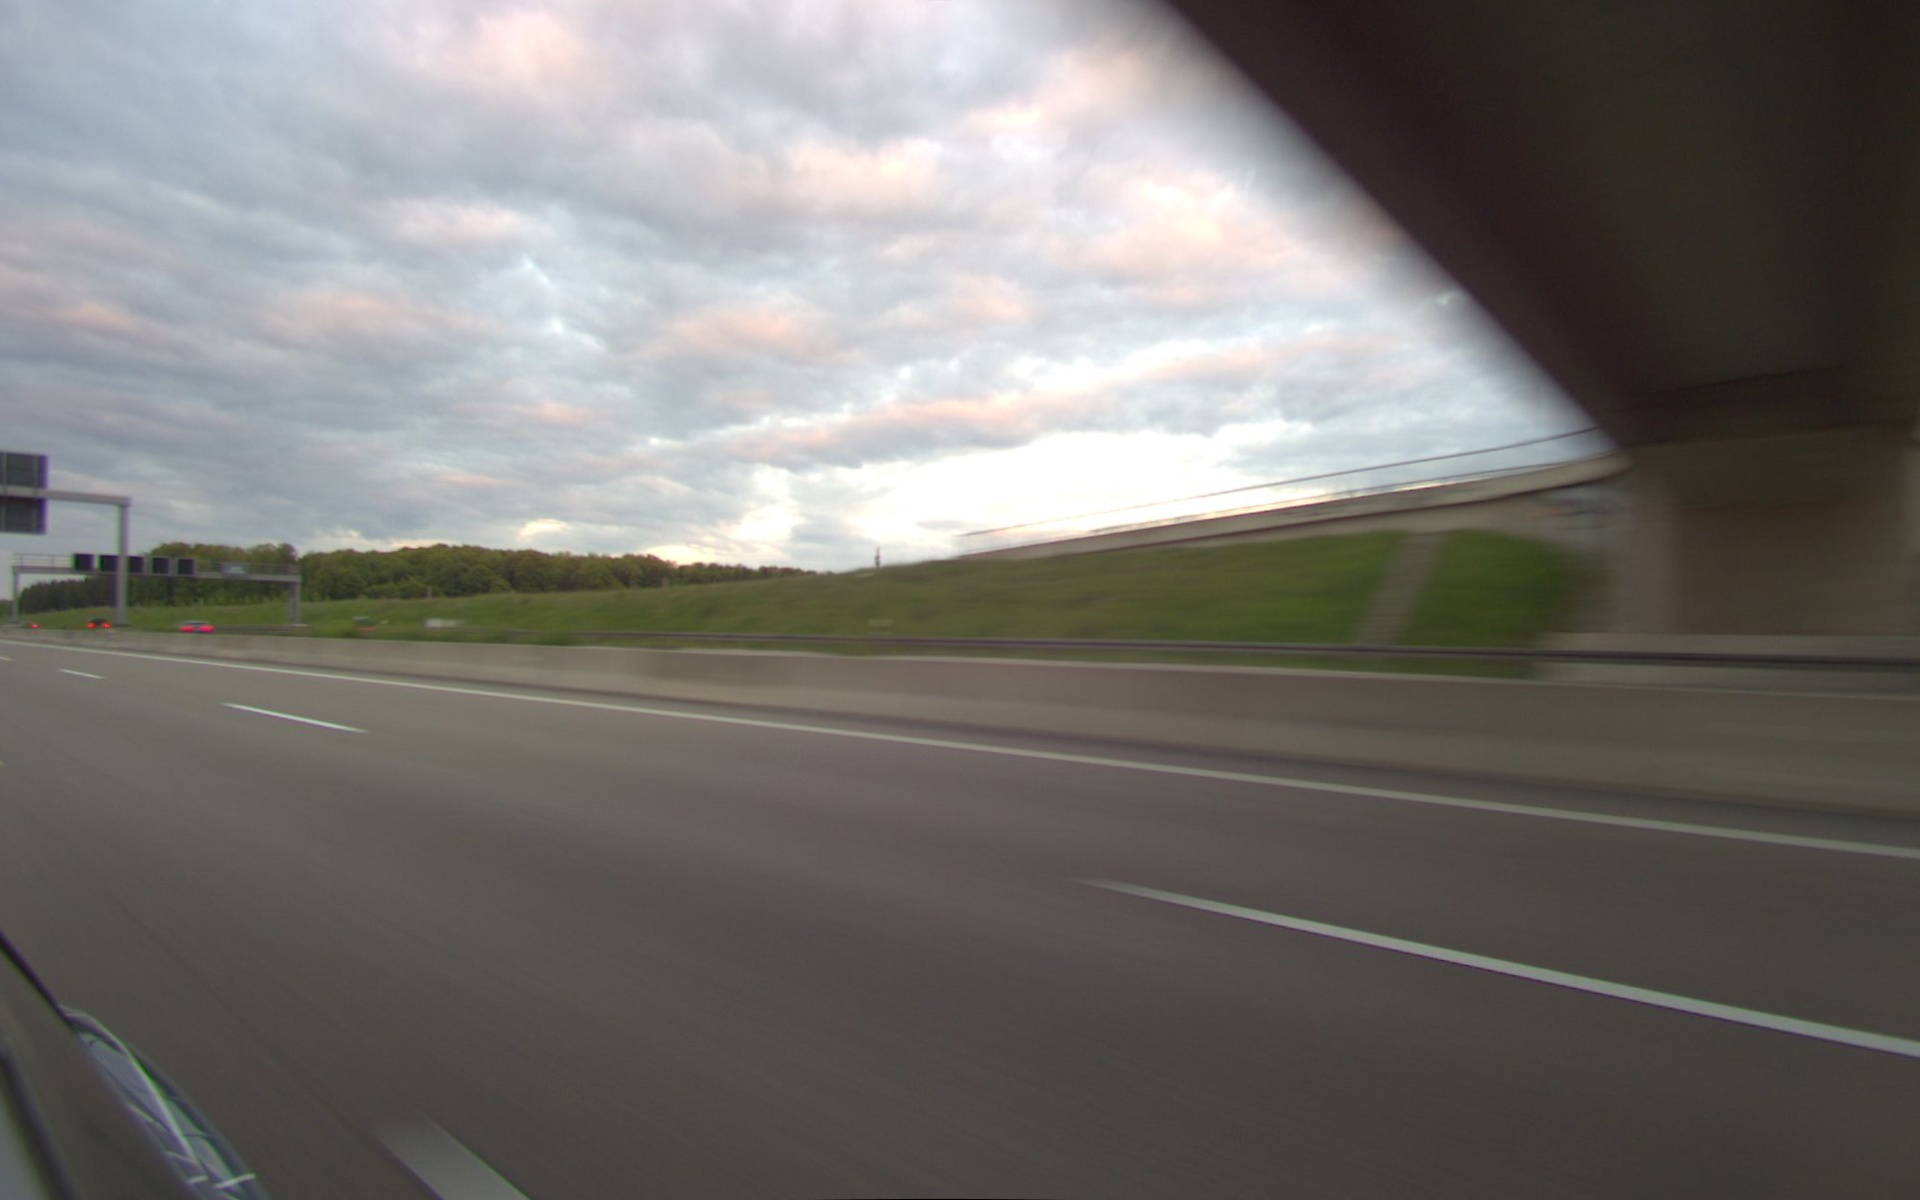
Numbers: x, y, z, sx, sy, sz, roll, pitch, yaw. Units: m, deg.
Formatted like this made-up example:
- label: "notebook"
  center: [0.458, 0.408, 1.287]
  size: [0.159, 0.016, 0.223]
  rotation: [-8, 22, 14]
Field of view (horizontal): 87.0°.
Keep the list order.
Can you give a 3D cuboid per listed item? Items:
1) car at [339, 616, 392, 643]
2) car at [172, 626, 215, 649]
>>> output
- label: "car"
  center: [-36.116, 1.778, 61.441]
  size: [3.998, 1.569, 1.585]
  rotation: [-1, 0, 41]
- label: "car"
  center: [-56.335, 2.709, 74.357]
  size: [4.360, 1.564, 1.735]
  rotation: [-1, 0, 43]
